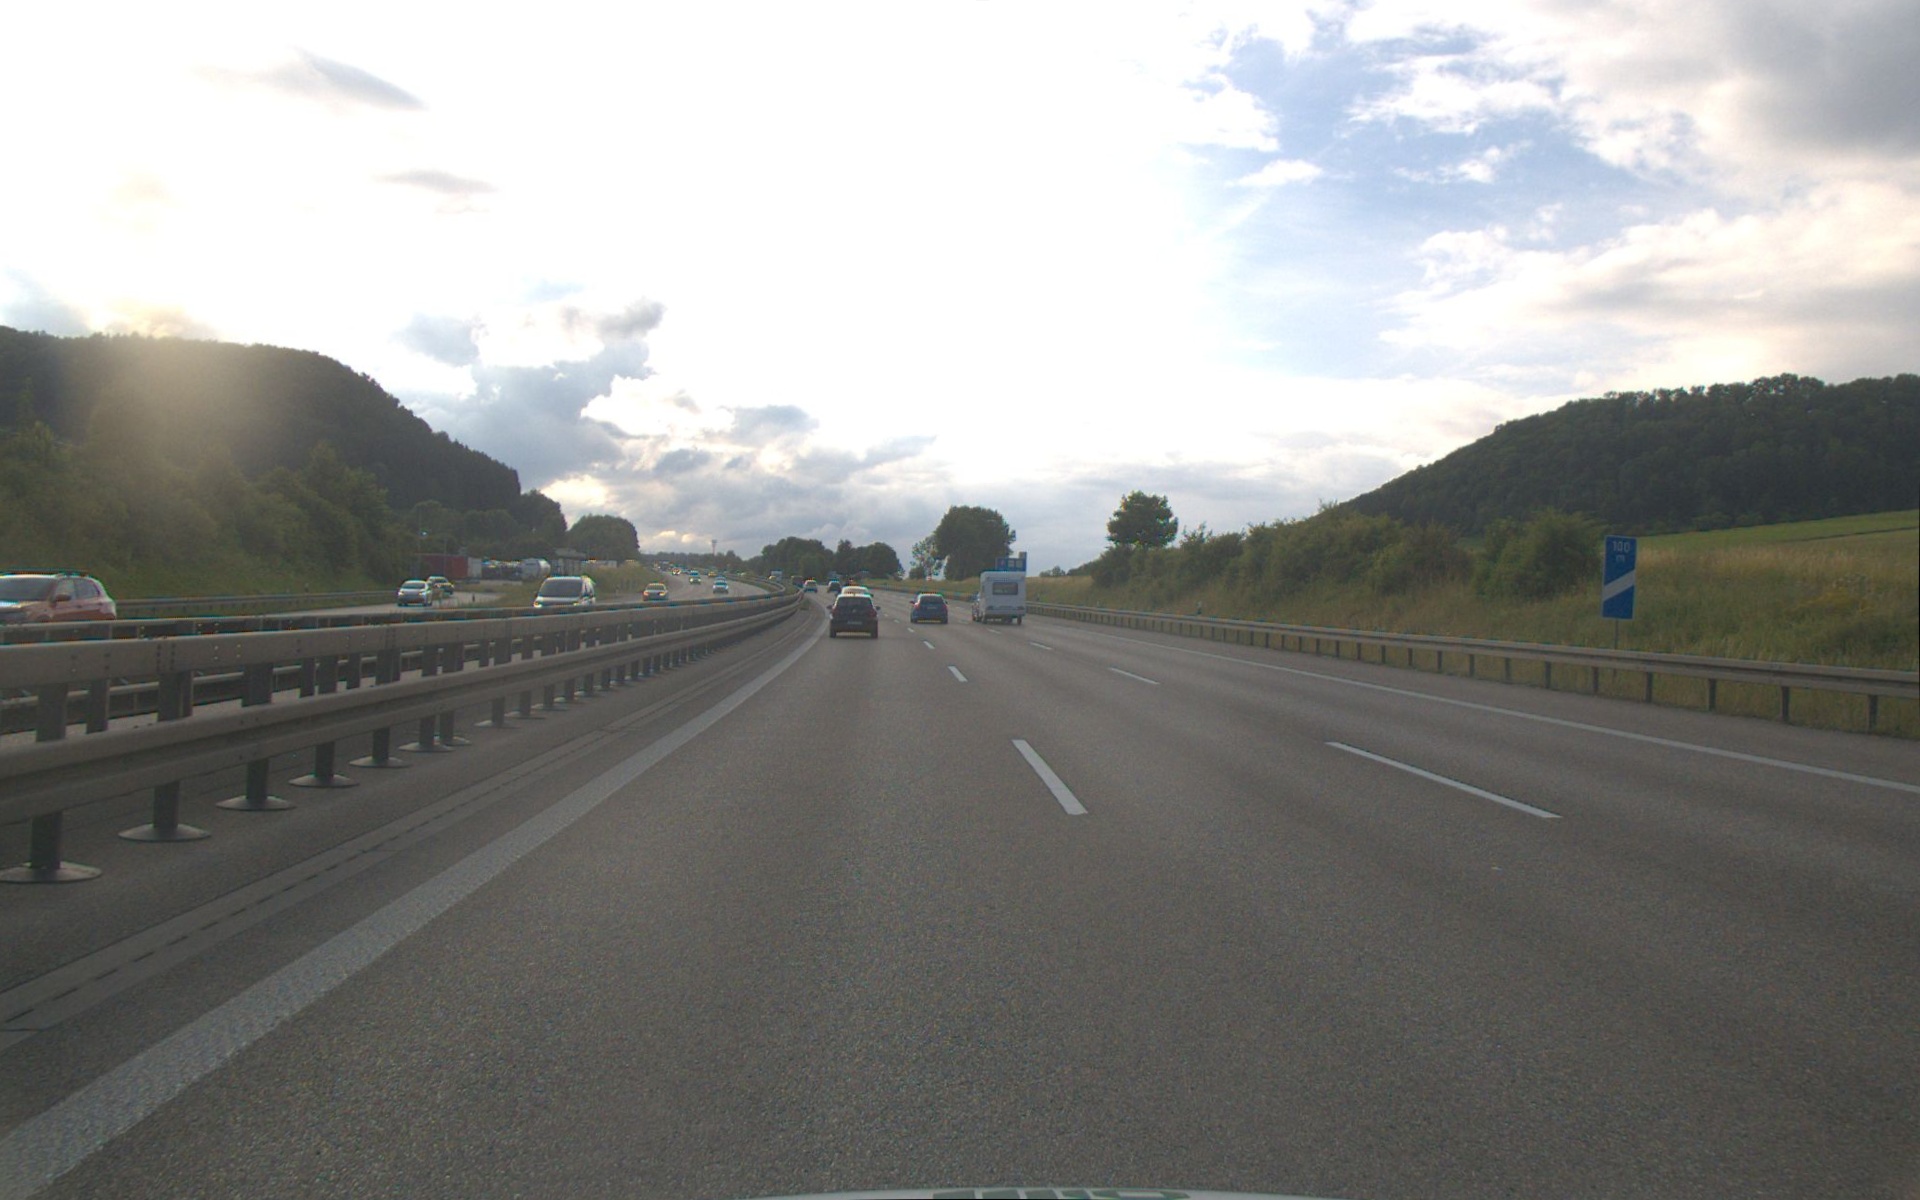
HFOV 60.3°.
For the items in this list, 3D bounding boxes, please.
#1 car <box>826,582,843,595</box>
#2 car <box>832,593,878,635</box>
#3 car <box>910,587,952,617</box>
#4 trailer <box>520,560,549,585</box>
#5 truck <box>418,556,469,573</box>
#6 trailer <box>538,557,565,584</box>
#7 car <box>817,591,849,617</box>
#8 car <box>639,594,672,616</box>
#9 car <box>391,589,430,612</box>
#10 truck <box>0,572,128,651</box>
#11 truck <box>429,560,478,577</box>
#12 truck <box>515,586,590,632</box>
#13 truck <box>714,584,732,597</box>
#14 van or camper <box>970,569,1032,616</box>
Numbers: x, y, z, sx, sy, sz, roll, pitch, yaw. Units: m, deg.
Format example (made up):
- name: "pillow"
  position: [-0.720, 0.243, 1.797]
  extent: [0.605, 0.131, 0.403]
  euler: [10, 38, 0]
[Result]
- name: "car"
  position: [-16.976, -1.529, 224.296]
  extent: [1.917, 1.601, 4.000]
  euler: [1, -1, 1]
- name: "car"
  position: [-3.575, 0.477, 56.611]
  extent: [1.507, 1.371, 3.674]
  euler: [1, 0, -3]
- name: "car"
  position: [-1.456, 0.068, 82.409]
  extent: [1.733, 1.458, 3.995]
  euler: [0, 0, -6]
- name: "trailer"
  position: [-55.293, -3.496, 215.158]
  extent: [2.531, 2.903, 12.236]
  euler: [1, -1, -9]
- name: "truck"
  position: [-71.369, -4.908, 228.620]
  extent: [7.158, 2.049, 2.891]
  euler: [-1, 0, 35]
- name: "trailer"
  position: [-59.057, -4.205, 239.207]
  extent: [2.825, 3.761, 13.644]
  euler: [0, 0, -10]
- name: "car"
  position: [-7.073, 0.232, 92.049]
  extent: [1.536, 1.404, 3.993]
  euler: [0, 0, -8]
- name: "car"
  position: [-24.798, 0.421, 134.684]
  extent: [1.953, 1.512, 3.998]
  euler: [-1, -3, -1]
- name: "car"
  position: [-34.579, 0.011, 104.158]
  extent: [1.727, 1.382, 4.372]
  euler: [0, 0, -11]
- name: "truck"
  position: [-17.481, 0.193, 30.948]
  extent: [1.954, 1.377, 3.944]
  euler: [0, 0, -3]
- name: "truck"
  position: [-71.681, -4.437, 233.880]
  extent: [7.159, 2.265, 2.891]
  euler: [2, 2, 35]
- name: "truck"
  position: [-15.188, 0.304, 61.863]
  extent: [1.955, 1.622, 4.841]
  euler: [-1, 0, -5]
- name: "truck"
  position: [-27.887, -1.123, 194.456]
  extent: [1.955, 1.389, 4.639]
  euler: [1, 1, -6]
- name: "van or camper"
  position: [1.996, -0.348, 83.085]
  extent: [2.498, 2.278, 5.322]
  euler: [1, 0, -5]
